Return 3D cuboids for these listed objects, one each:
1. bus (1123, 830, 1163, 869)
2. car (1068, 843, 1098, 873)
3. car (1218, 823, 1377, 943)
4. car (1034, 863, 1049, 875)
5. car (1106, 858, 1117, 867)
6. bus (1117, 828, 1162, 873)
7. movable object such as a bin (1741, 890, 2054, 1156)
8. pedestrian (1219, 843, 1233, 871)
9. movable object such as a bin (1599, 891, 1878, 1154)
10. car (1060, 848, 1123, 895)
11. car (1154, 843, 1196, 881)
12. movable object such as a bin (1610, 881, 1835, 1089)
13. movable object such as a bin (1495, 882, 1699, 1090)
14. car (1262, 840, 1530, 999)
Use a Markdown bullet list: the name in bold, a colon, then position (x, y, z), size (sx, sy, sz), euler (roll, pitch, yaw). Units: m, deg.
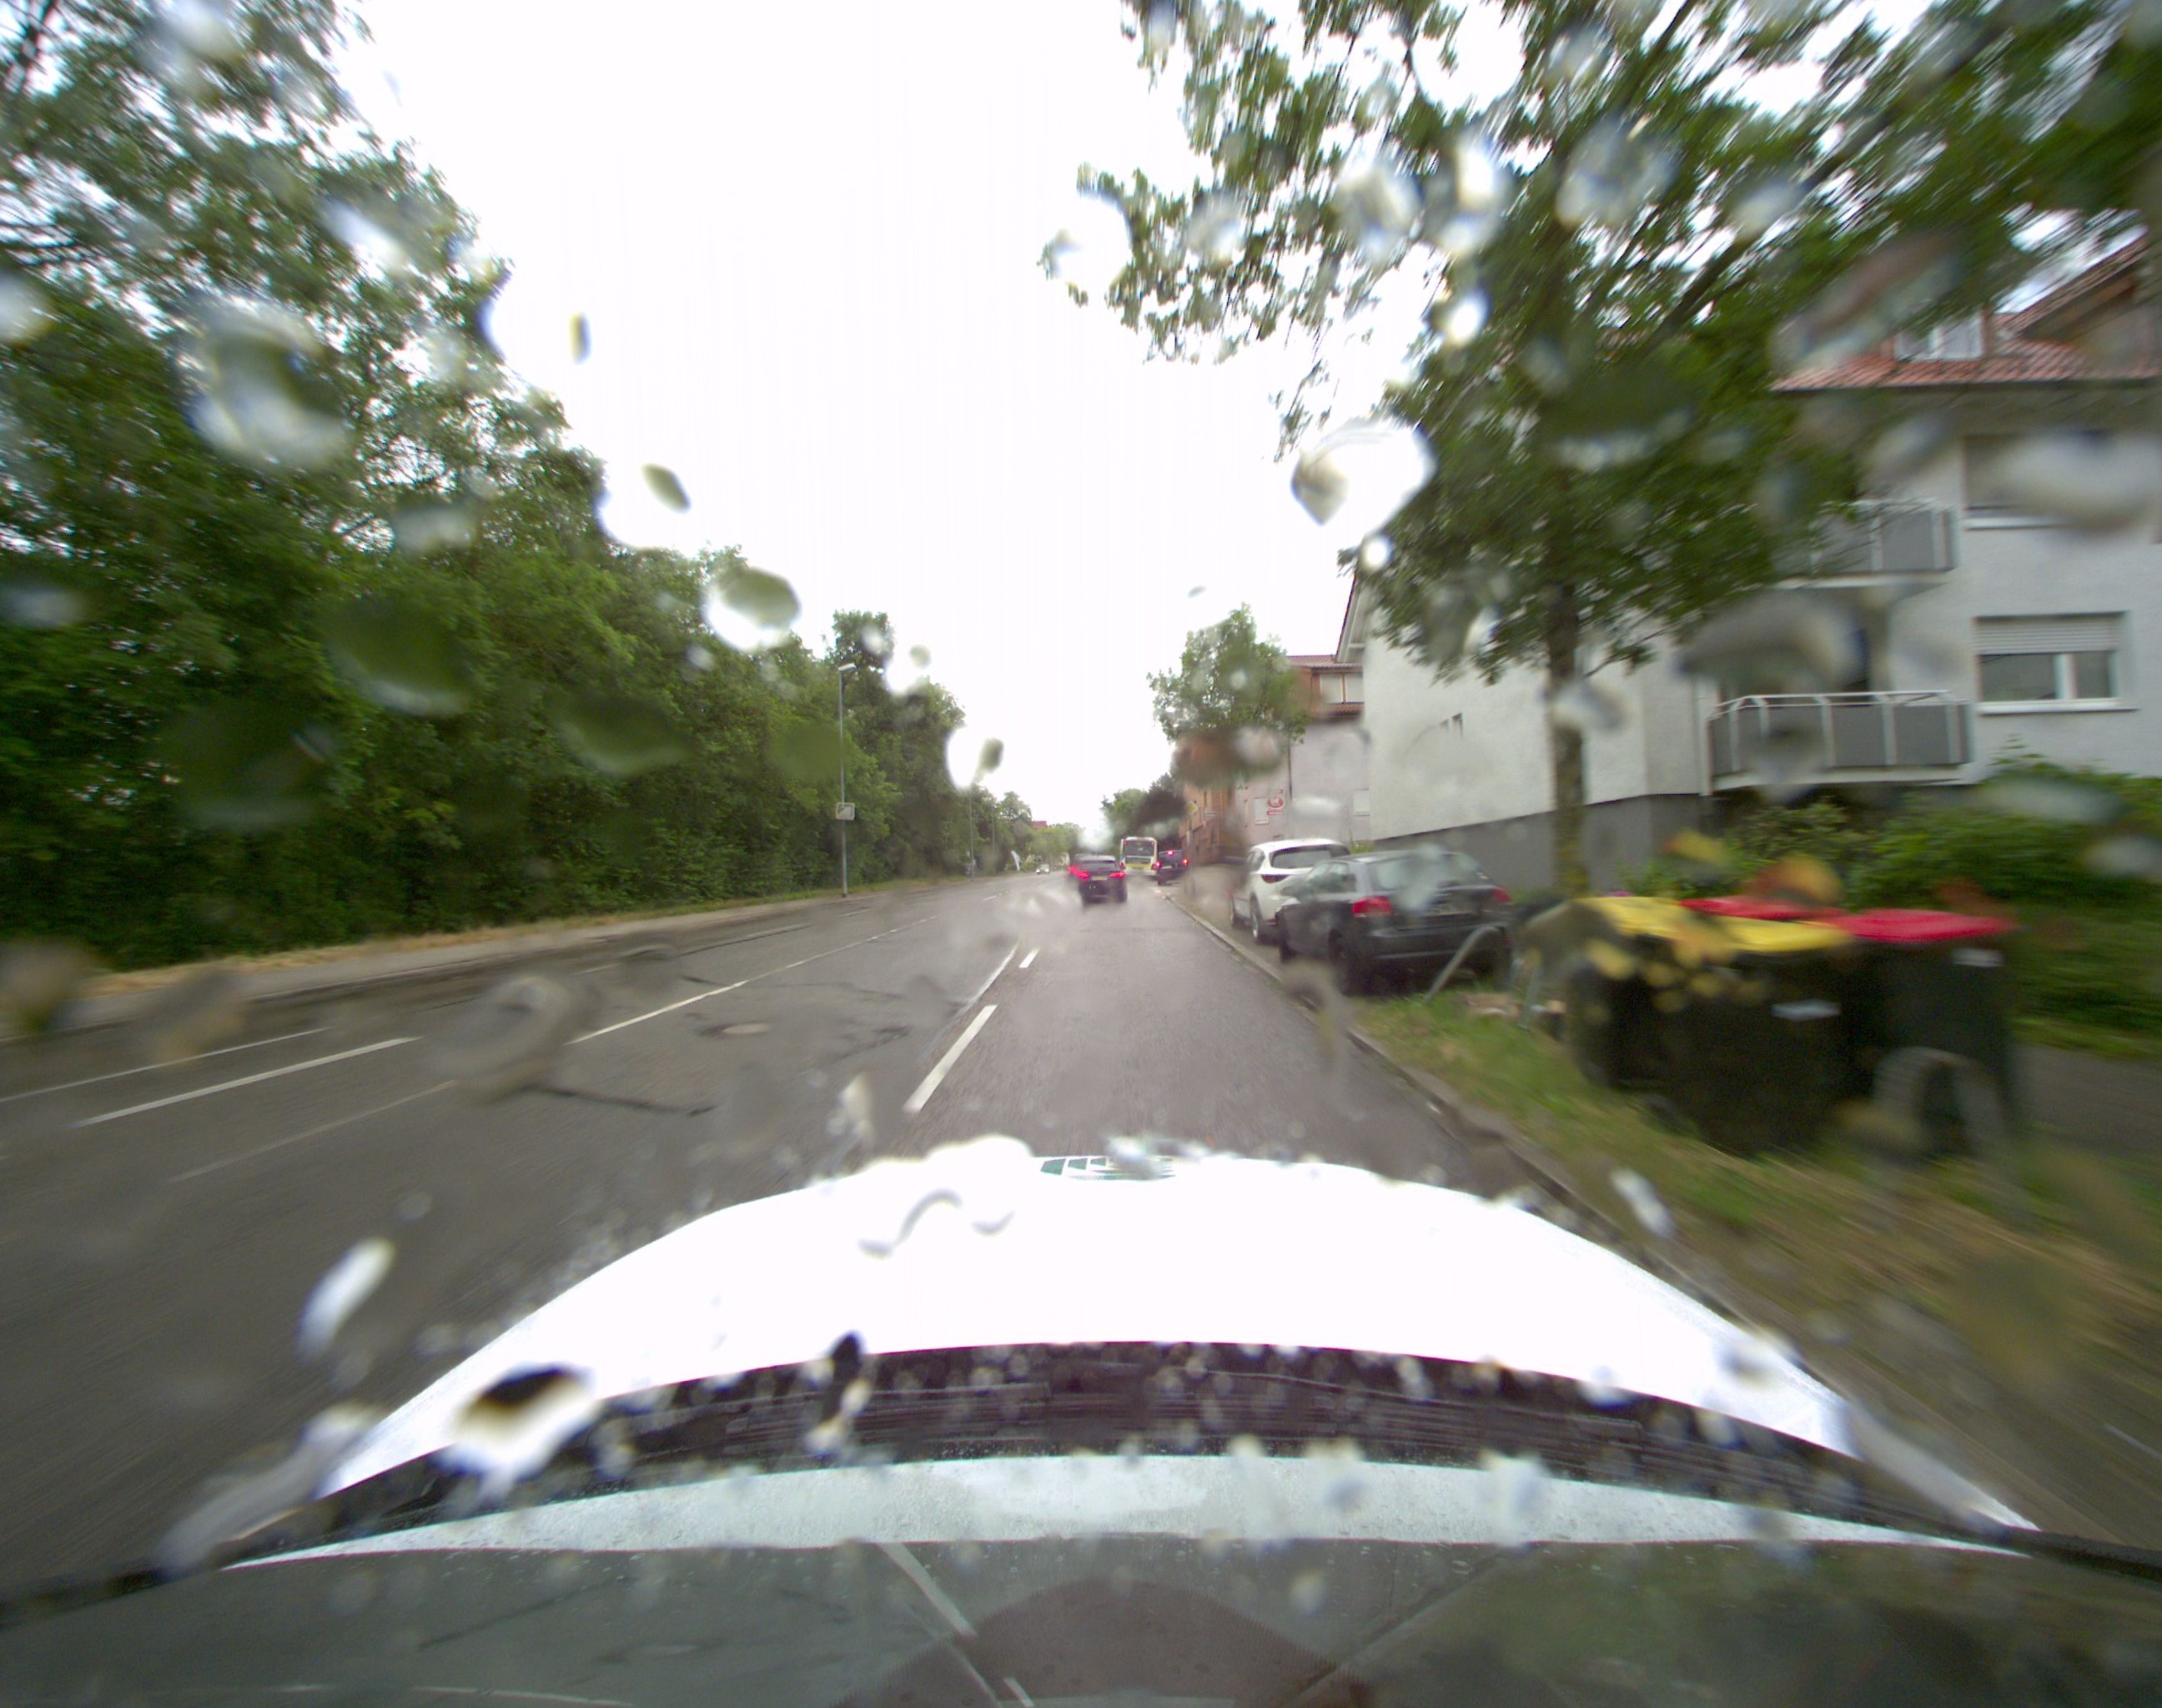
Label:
- **bus**: position (4.984, -0.346, 66.877), size (2.613, 2.847, 9.797), euler (-3, 0, 1)
- **car**: position (0.182, 0.246, 57.993), size (1.986, 2.013, 4.002), euler (-1, 0, 2)
- **car**: position (3.724, 0.434, 14.856), size (1.817, 1.772, 4.544), euler (-3, 0, 3)
- **car**: position (-5.597, 2.071, 116.935), size (1.763, 1.533, 4.001), euler (-3, 0, 1)
- **car**: position (5.429, 1.459, 144.791), size (1.859, 1.519, 4.000), euler (-2, 1, 0)
- **bus**: position (4.284, -0.253, 57.955), size (2.609, 2.847, 8.306), euler (-3, 0, 7)
- **movable object such as a bin**: position (3.844, 0.743, 3.911), size (0.617, 1.050, 0.822), euler (-4, 0, -1)
- **pedestrian**: position (9.293, 0.203, 52.255), size (0.688, 1.754, 0.669), euler (-3, 0, 1)
- **movable object such as a bin**: position (3.116, 0.748, 3.942), size (0.617, 1.050, 0.822), euler (-4, 0, -1)
- **car**: position (0.438, 0.546, 27.915), size (1.985, 1.453, 4.003), euler (1, 0, 2)
- **car**: position (5.400, 0.466, 46.366), size (1.915, 1.892, 4.774), euler (-5, -1, 10)
- **movable object such as a bin**: position (3.754, 0.727, 4.836), size (0.617, 1.050, 0.822), euler (-4, 0, -1)
- **movable object such as a bin**: position (3.018, 0.733, 4.843), size (0.617, 1.050, 0.822), euler (-4, 0, -1)
- **car**: position (3.437, 0.626, 9.737), size (1.636, 1.448, 3.998), euler (-2, 0, 0)
